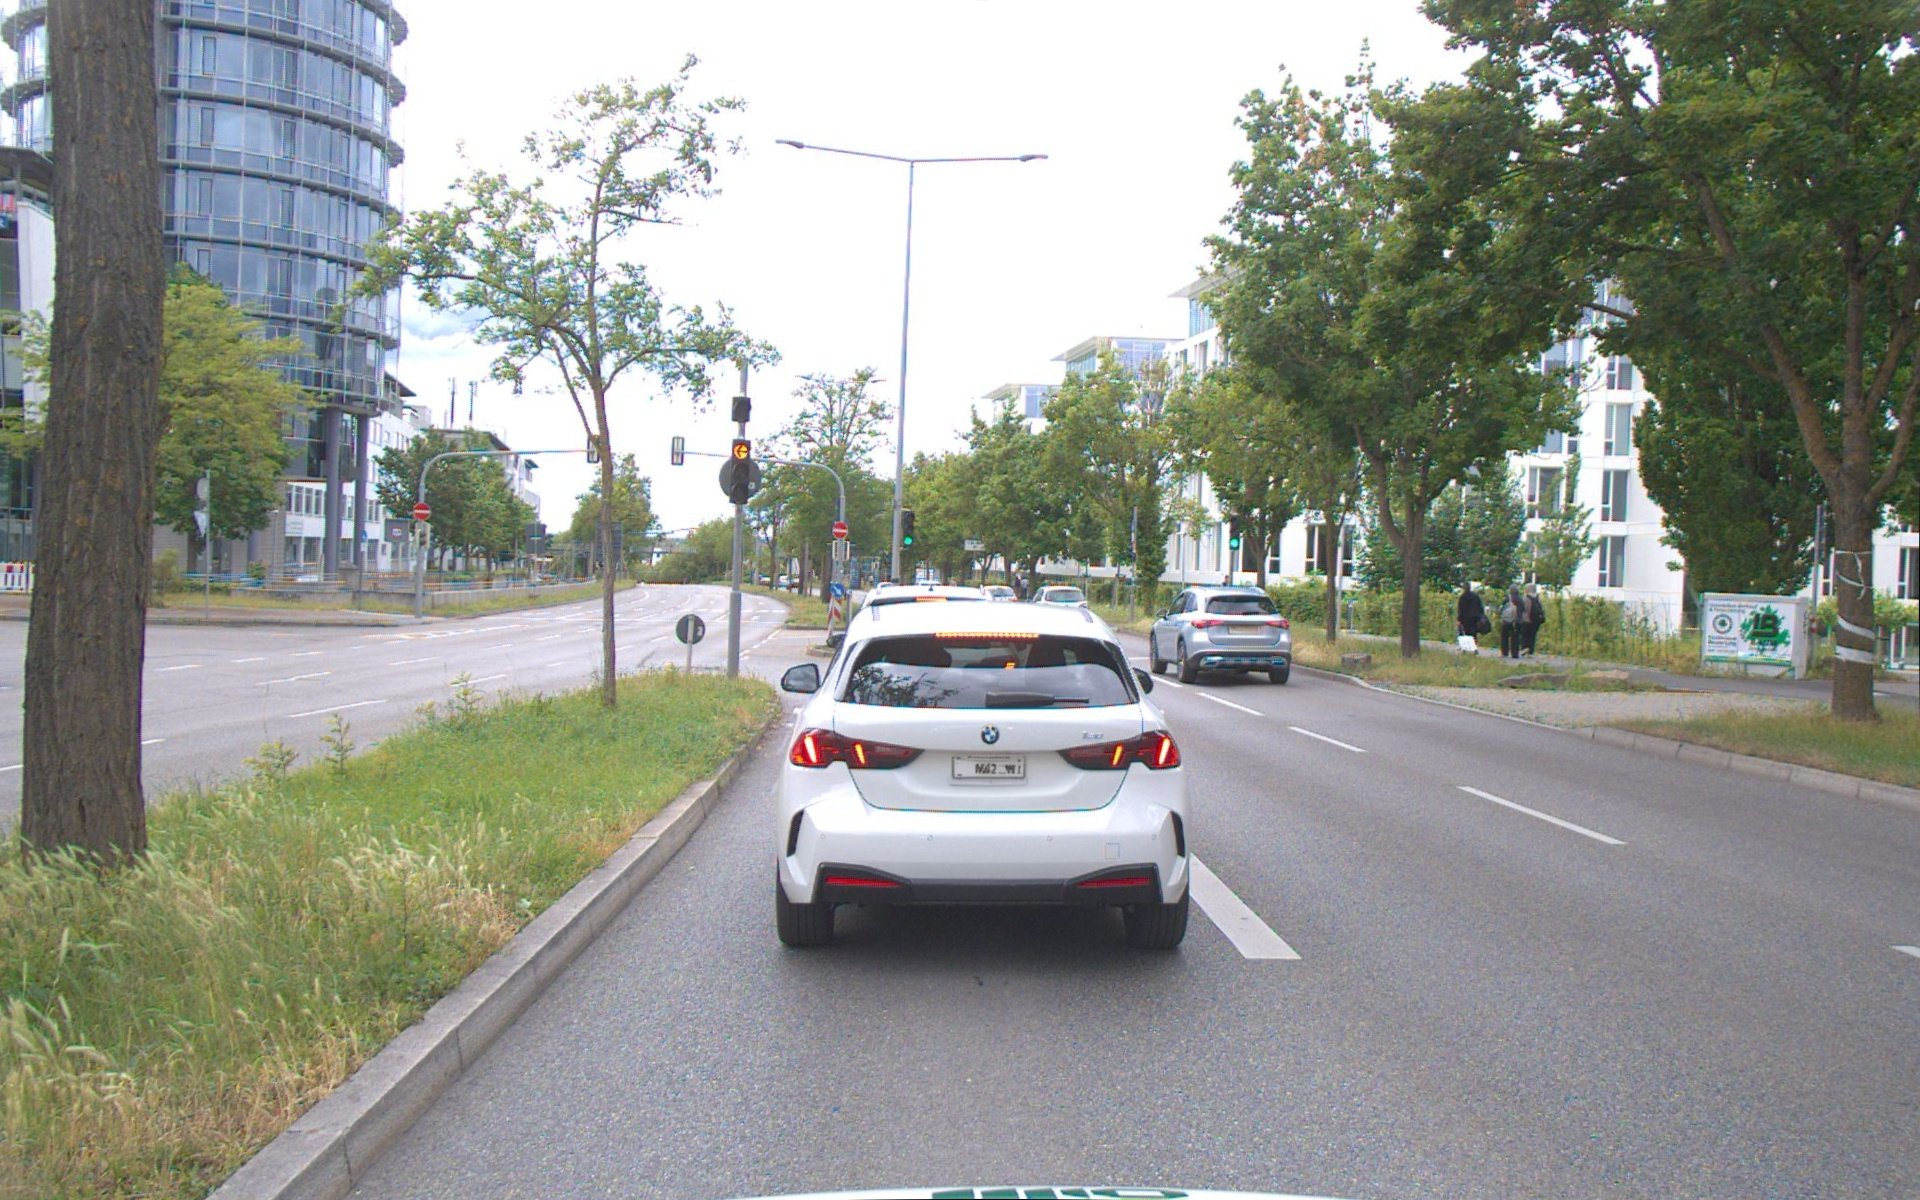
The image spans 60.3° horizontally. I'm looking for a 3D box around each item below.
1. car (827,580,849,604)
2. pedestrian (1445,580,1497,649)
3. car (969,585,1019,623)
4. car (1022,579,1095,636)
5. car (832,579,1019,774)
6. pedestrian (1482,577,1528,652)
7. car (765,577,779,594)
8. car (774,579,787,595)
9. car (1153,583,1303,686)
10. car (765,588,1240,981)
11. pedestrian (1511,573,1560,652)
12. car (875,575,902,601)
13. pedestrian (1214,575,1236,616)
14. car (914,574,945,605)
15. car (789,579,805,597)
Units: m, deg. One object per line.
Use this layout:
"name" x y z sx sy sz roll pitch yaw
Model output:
"car" -9.026 -0.598 122.415 1.570 1.695 3.997 1 0 -4
"pedestrian" 11.213 0.308 36.326 0.773 1.473 1.112 1 0 -1
"car" 1.433 0.149 70.603 1.660 1.512 3.689 1 0 -6
"car" 3.184 0.217 54.189 1.663 1.747 3.994 1 0 -7
"car" -0.316 0.631 15.837 1.518 1.596 3.999 1 0 -1
"pedestrian" 11.992 0.322 36.420 0.685 1.623 0.883 1 0 -1
"car" -23.930 -1.857 210.480 1.803 2.049 3.994 1 0 -7
"car" -24.917 -1.793 229.574 1.803 2.049 3.994 1 0 -7
"car" 4.671 0.558 29.363 1.953 1.699 3.999 0 0 -1
"car" 0.137 0.698 8.325 1.785 1.463 3.999 1 0 -1
"pedestrian" 12.750 0.280 36.660 0.751 1.715 0.883 1 -1 -1
"car" -5.003 -0.840 115.193 1.705 1.695 3.997 1 0 -4
"pedestrian" 10.484 -0.183 65.368 0.726 1.601 0.674 1 -1 -2
"car" -1.781 -0.620 95.216 1.570 1.695 3.997 1 0 -4
"car" -19.986 -1.456 202.611 1.803 2.049 3.994 1 0 -7
